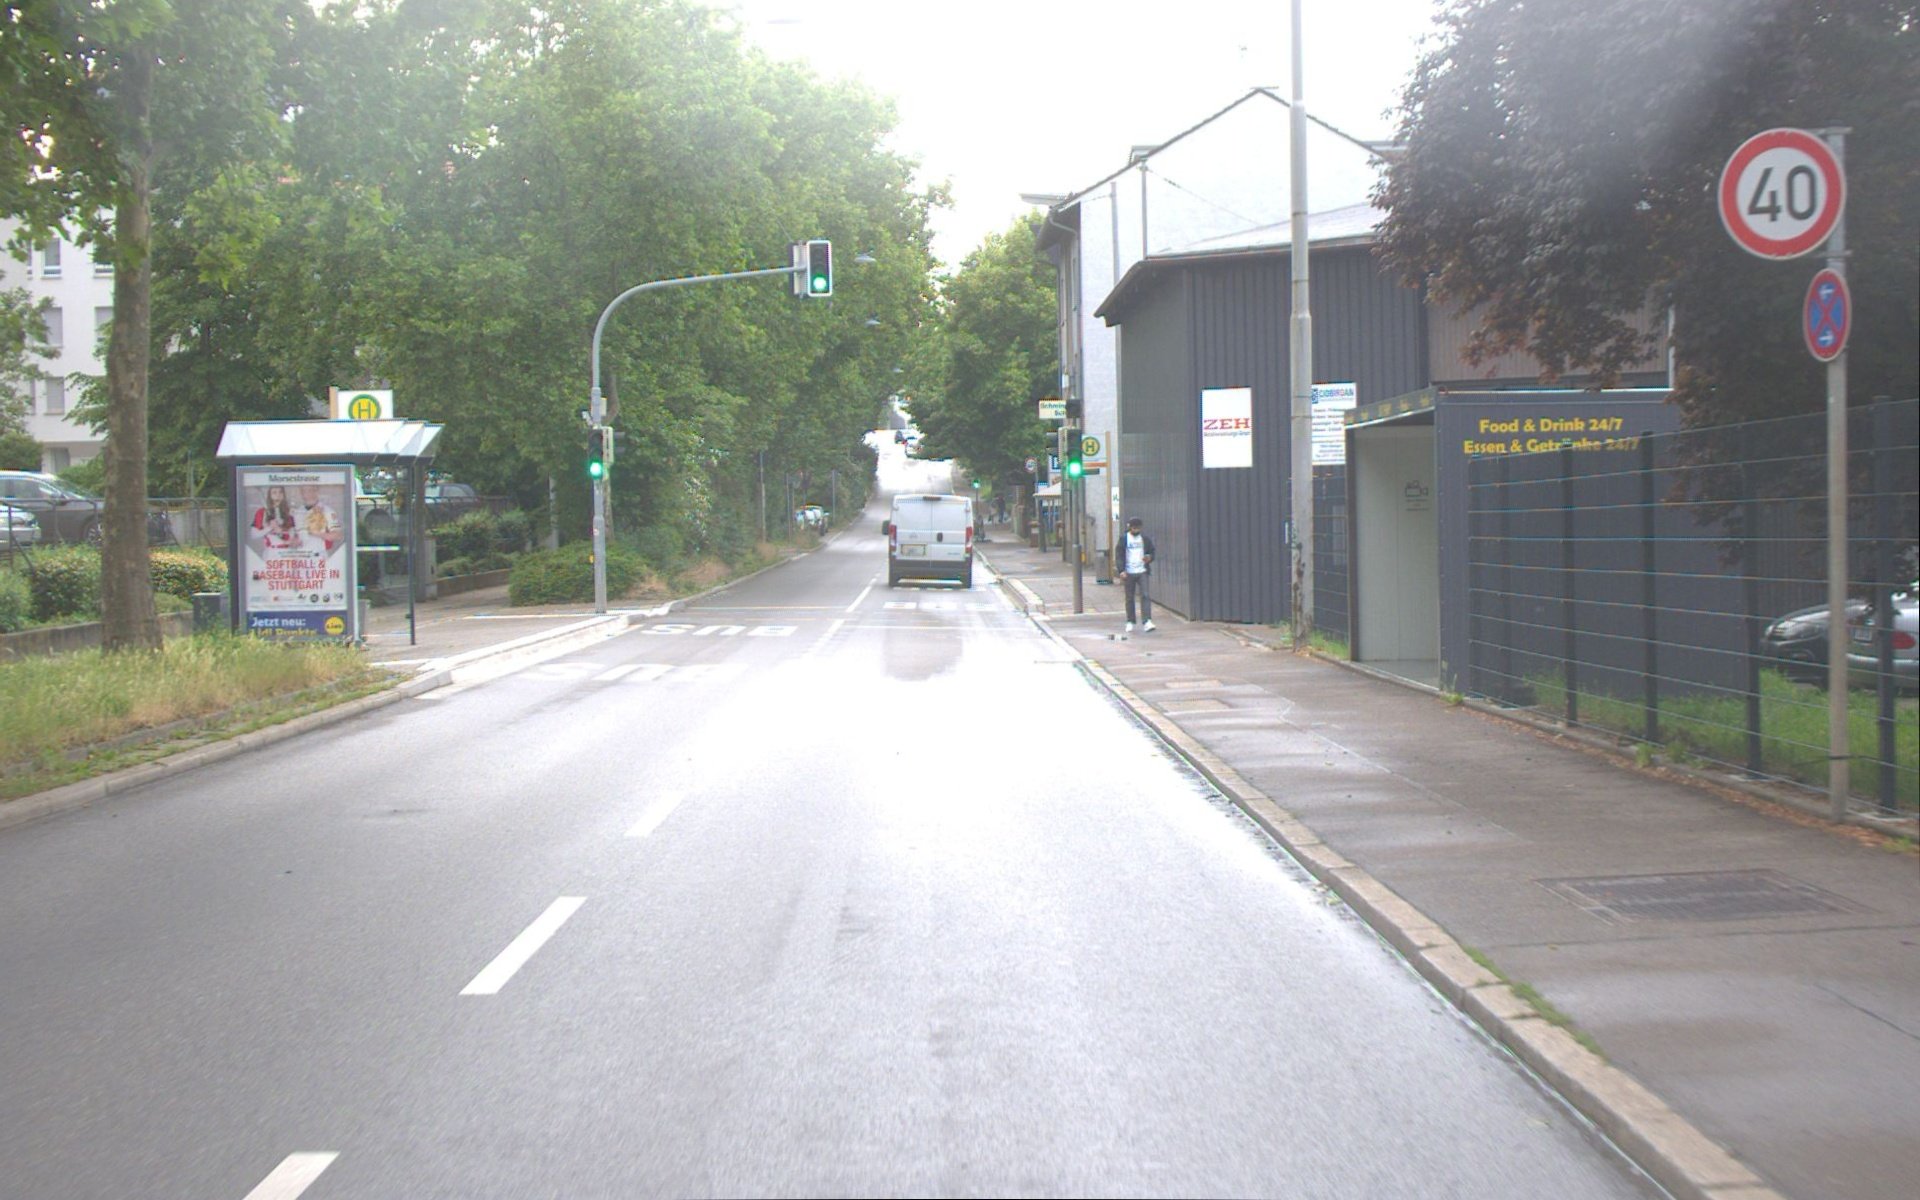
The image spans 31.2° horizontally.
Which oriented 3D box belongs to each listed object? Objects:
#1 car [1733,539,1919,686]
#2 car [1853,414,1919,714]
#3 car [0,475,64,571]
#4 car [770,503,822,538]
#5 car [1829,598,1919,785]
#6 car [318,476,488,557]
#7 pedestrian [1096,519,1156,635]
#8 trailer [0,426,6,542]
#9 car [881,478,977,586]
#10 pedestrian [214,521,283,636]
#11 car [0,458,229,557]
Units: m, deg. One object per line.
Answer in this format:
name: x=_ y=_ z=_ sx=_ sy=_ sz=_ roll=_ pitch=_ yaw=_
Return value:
car: x=9.952 y=0.146 z=34.458 sx=3.987 sy=1.418 sz=1.785 roll=1 pitch=0 yaw=1
car: x=9.817 y=-0.239 z=25.971 sx=5.567 sy=2.203 sz=2.000 roll=1 pitch=1 yaw=-2
car: x=-16.155 y=-1.201 z=52.648 sx=4.355 sy=1.419 sz=1.860 roll=1 pitch=0 yaw=0
car: x=-8.121 y=-3.947 z=170.843 sx=2.215 sy=1.587 sz=4.609 roll=1 pitch=0 yaw=2
car: x=9.831 y=0.740 z=29.270 sx=4.378 sy=1.525 sz=1.794 roll=0 pitch=0 yaw=-2
car: x=-14.436 y=-2.160 z=89.287 sx=4.167 sy=2.007 sz=1.719 roll=1 pitch=1 yaw=-3
pedestrian: x=2.475 y=-0.342 z=51.339 sx=0.742 sy=1.698 sz=0.902 roll=1 pitch=0 yaw=-6
trailer: x=-14.932 y=-1.658 z=48.168 sx=2.704 sy=1.639 sz=1.480 roll=1 pitch=1 yaw=0
car: x=-0.746 y=-1.644 z=84.380 sx=2.282 sy=2.544 sz=4.000 roll=0 pitch=0 yaw=0
pedestrian: x=-10.247 y=-0.308 z=49.560 sx=0.741 sy=1.593 sz=0.606 roll=-4 pitch=-1 yaw=3
car: x=-15.710 y=-1.668 z=62.163 sx=4.545 sy=1.666 sz=2.000 roll=1 pitch=0 yaw=-1
